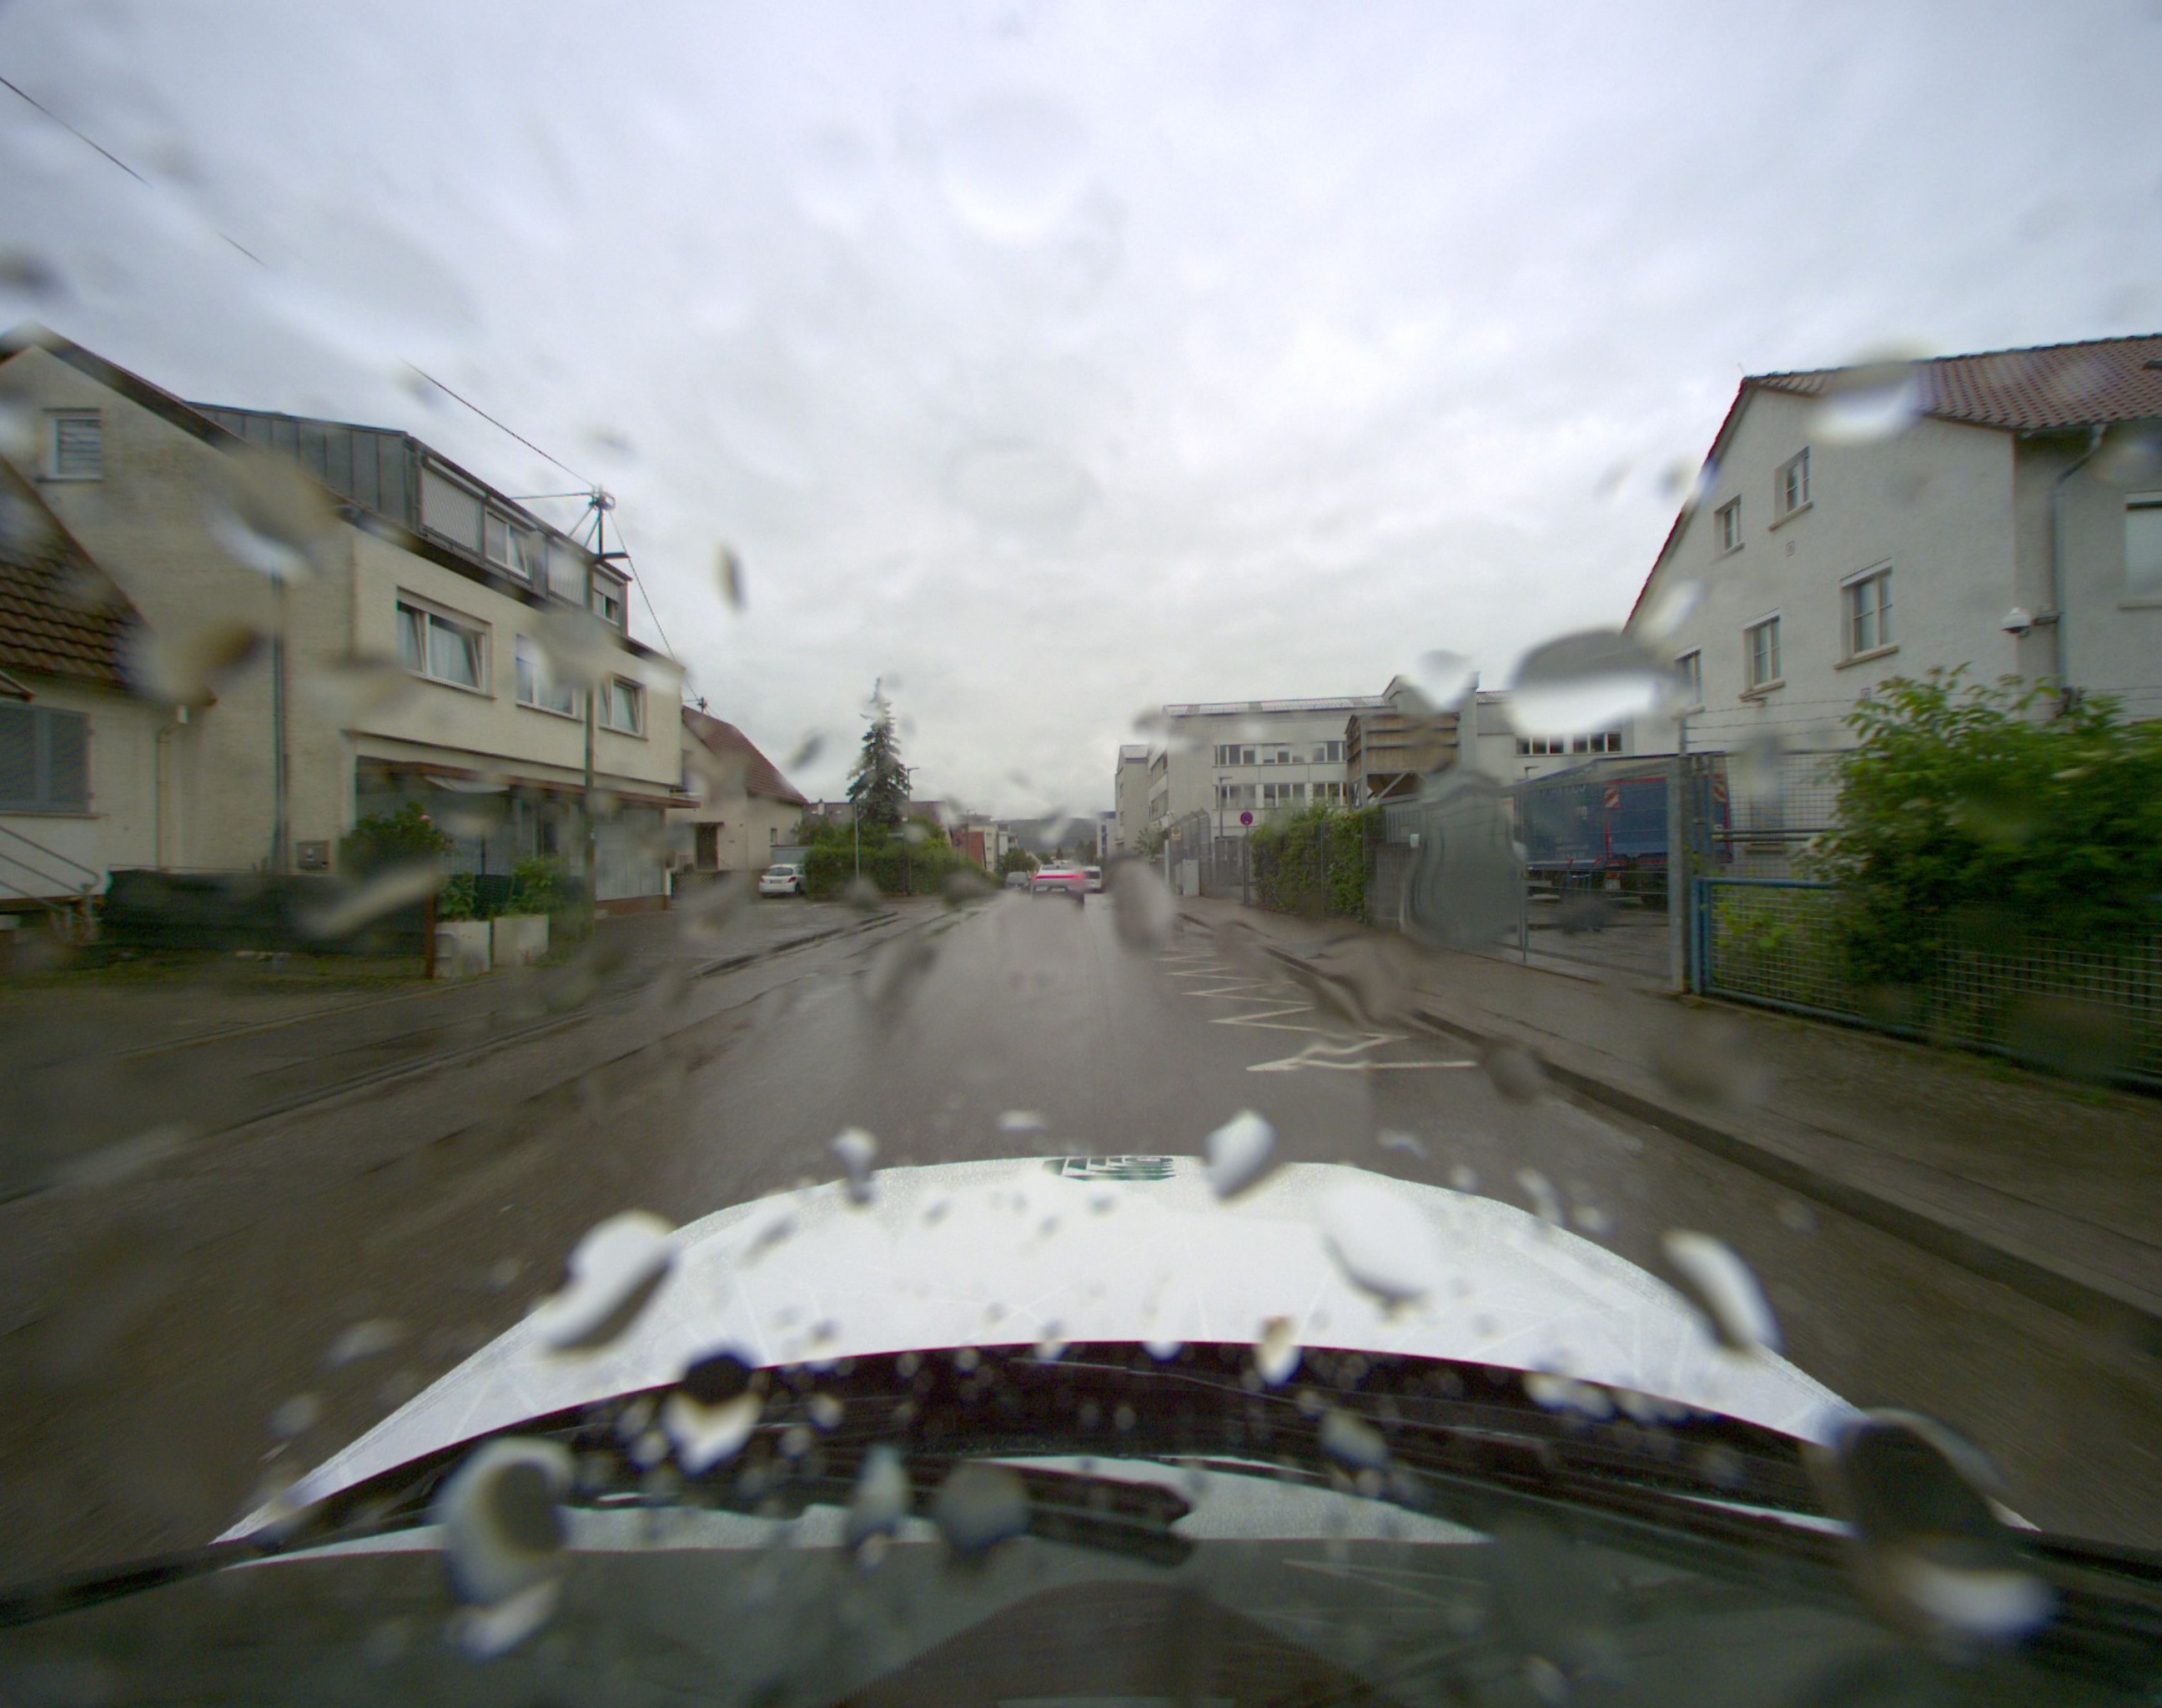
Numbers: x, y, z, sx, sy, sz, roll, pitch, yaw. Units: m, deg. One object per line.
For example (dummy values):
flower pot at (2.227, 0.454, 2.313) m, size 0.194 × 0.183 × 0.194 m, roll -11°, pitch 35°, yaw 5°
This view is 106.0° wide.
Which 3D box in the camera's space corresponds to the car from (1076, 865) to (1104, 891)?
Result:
car at (0.697, 2.075, 68.880) m, size 1.990 × 2.014 × 3.992 m, roll -2°, pitch -3°, yaw -5°

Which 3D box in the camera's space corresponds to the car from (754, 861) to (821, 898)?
car at (-13.915, 1.169, 38.835) m, size 1.789 × 1.508 × 3.998 m, roll -1°, pitch 1°, yaw -1°

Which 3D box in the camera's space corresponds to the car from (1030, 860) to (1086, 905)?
car at (-0.821, 1.048, 31.929) m, size 1.987 × 1.502 × 4.670 m, roll -1°, pitch 1°, yaw 0°

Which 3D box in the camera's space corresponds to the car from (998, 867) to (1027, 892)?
car at (-4.481, 1.671, 53.824) m, size 1.671 × 1.528 × 3.996 m, roll -1°, pitch -1°, yaw -2°
